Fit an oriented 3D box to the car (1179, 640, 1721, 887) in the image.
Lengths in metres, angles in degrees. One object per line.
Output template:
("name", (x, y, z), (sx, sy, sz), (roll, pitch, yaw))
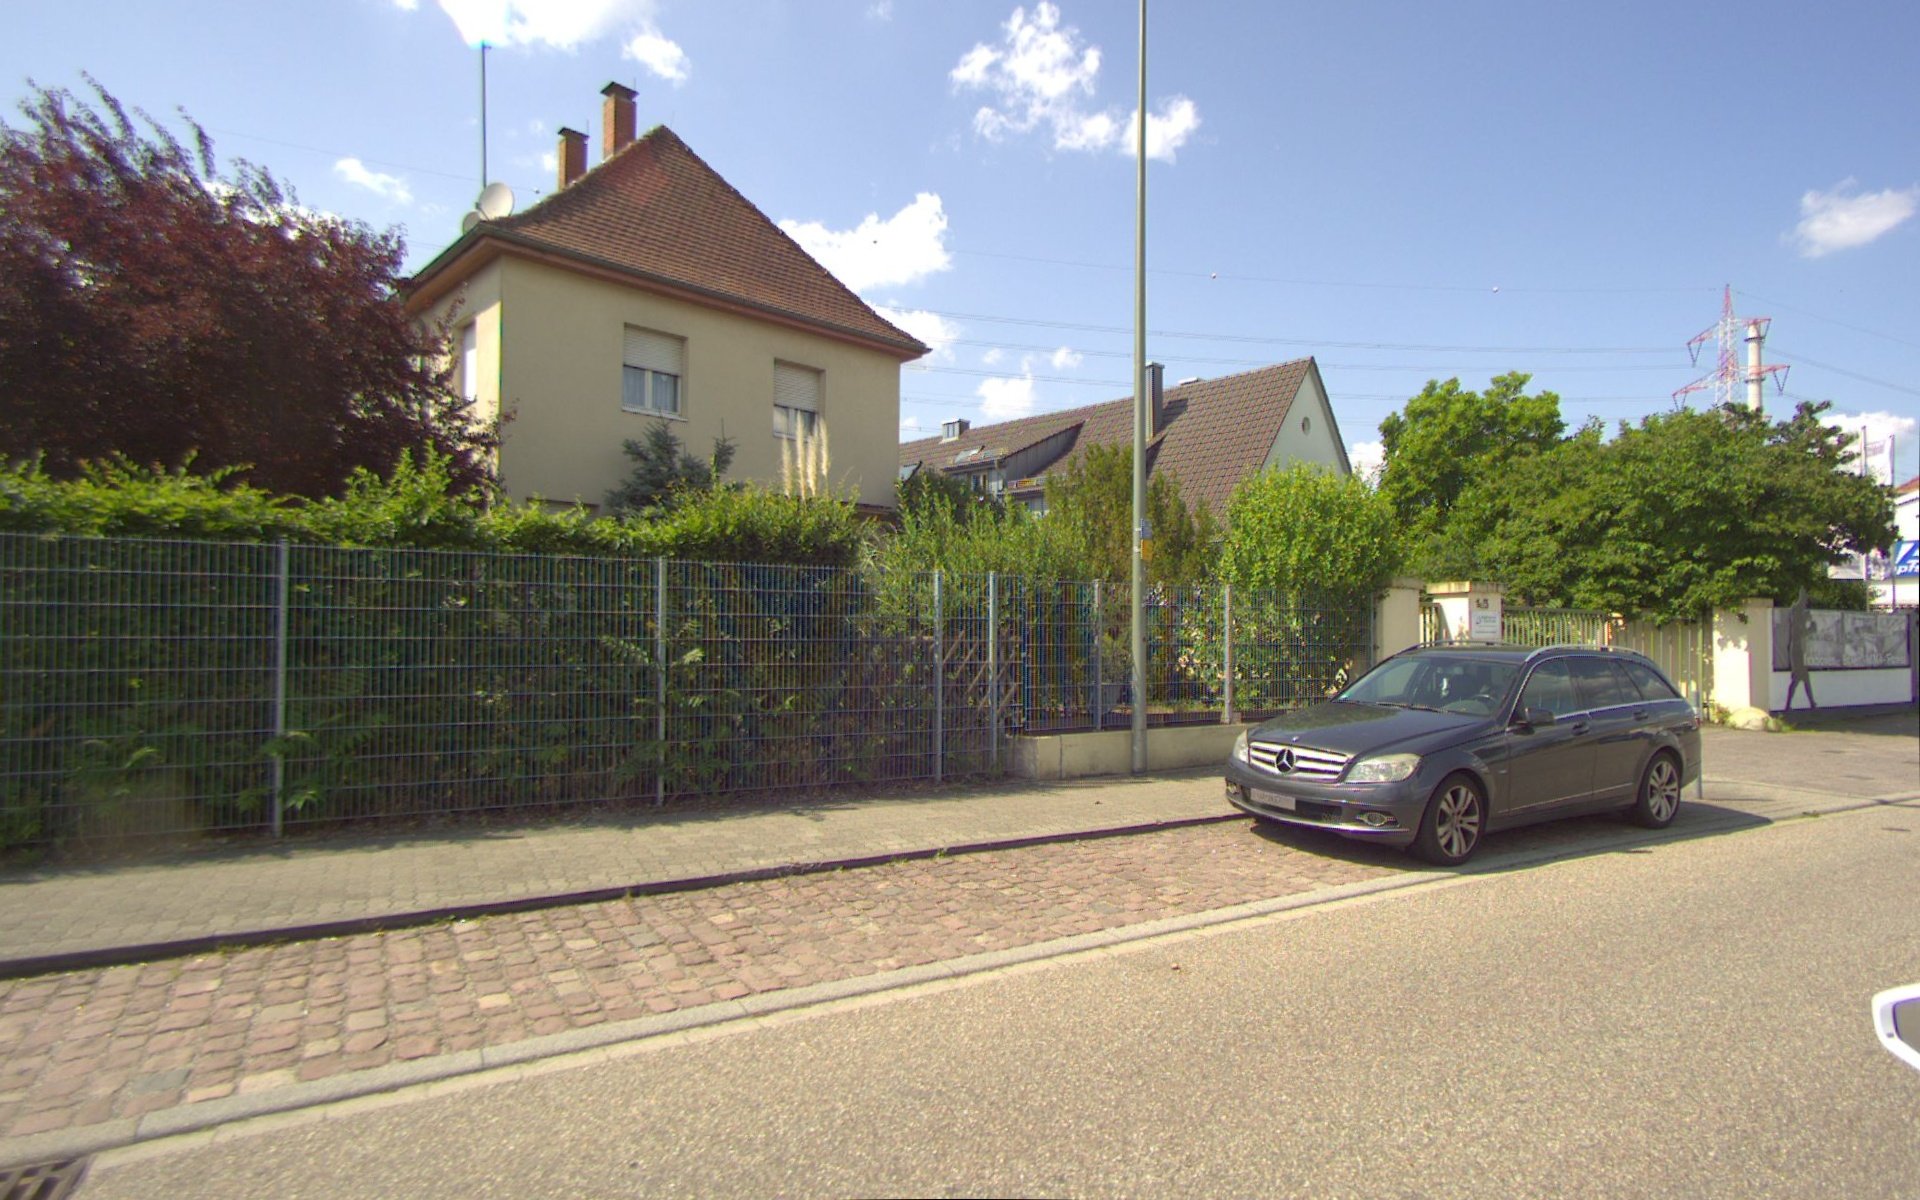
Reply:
("car", (4.036, 1.082, 8.059), (4.445, 1.437, 1.796), (2, -1, -31))
